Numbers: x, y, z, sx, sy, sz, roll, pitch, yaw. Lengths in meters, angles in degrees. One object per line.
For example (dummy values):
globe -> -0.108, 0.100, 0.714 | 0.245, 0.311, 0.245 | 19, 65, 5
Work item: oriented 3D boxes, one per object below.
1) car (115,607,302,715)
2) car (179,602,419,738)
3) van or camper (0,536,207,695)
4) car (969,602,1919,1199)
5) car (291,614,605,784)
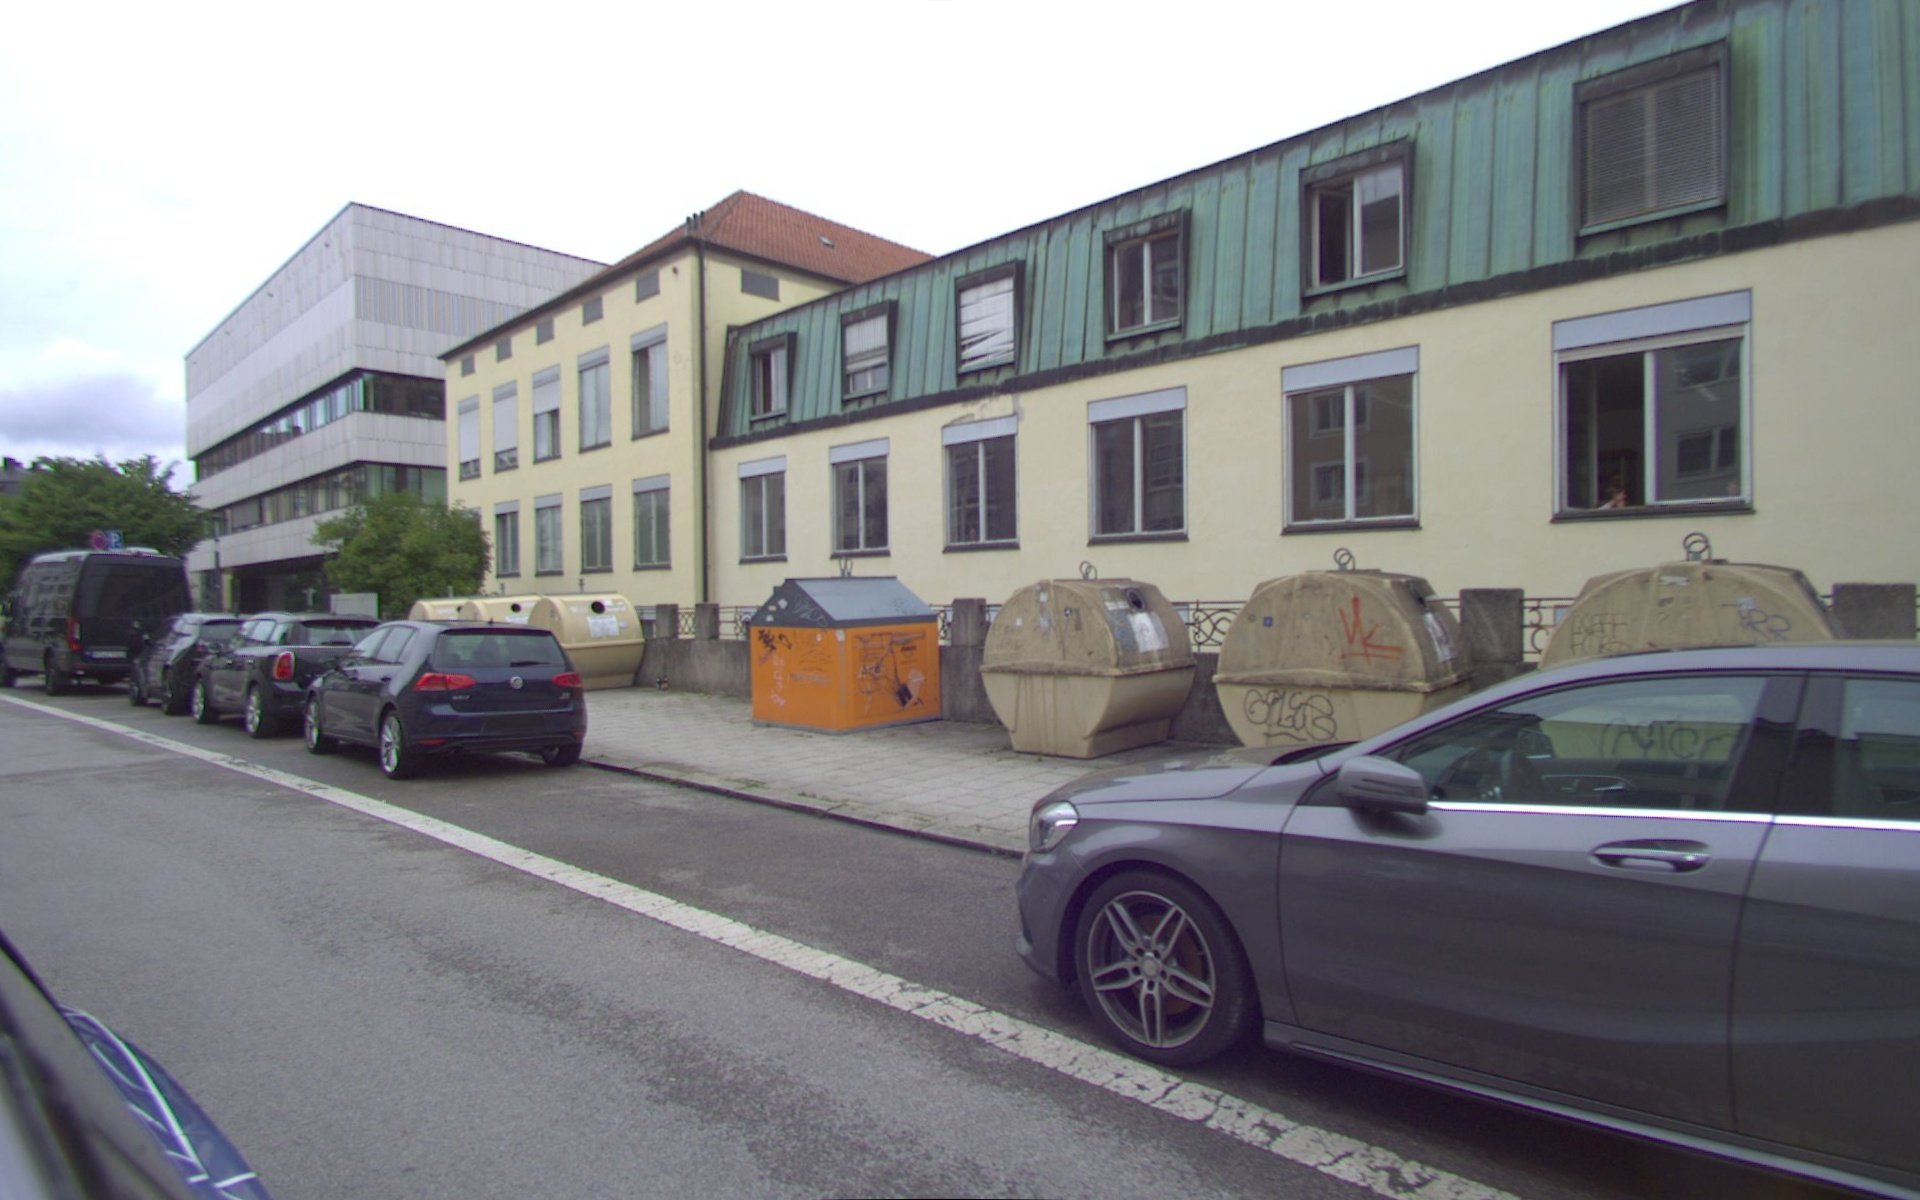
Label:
car -> -12.449, 0.974, 16.689 | 3.837, 1.574, 1.621 | -2, -5, 41
car -> -9.017, 0.902, 13.702 | 3.865, 1.574, 1.678 | -2, -5, 41
van or camper -> -17.618, 0.350, 20.537 | 5.561, 2.829, 2.116 | -1, -3, 36
car -> 2.173, 0.775, 3.077 | 4.125, 1.416, 1.775 | -1, -5, 41
car -> -5.413, 0.923, 10.466 | 4.002, 1.416, 1.676 | -2, -5, 45
